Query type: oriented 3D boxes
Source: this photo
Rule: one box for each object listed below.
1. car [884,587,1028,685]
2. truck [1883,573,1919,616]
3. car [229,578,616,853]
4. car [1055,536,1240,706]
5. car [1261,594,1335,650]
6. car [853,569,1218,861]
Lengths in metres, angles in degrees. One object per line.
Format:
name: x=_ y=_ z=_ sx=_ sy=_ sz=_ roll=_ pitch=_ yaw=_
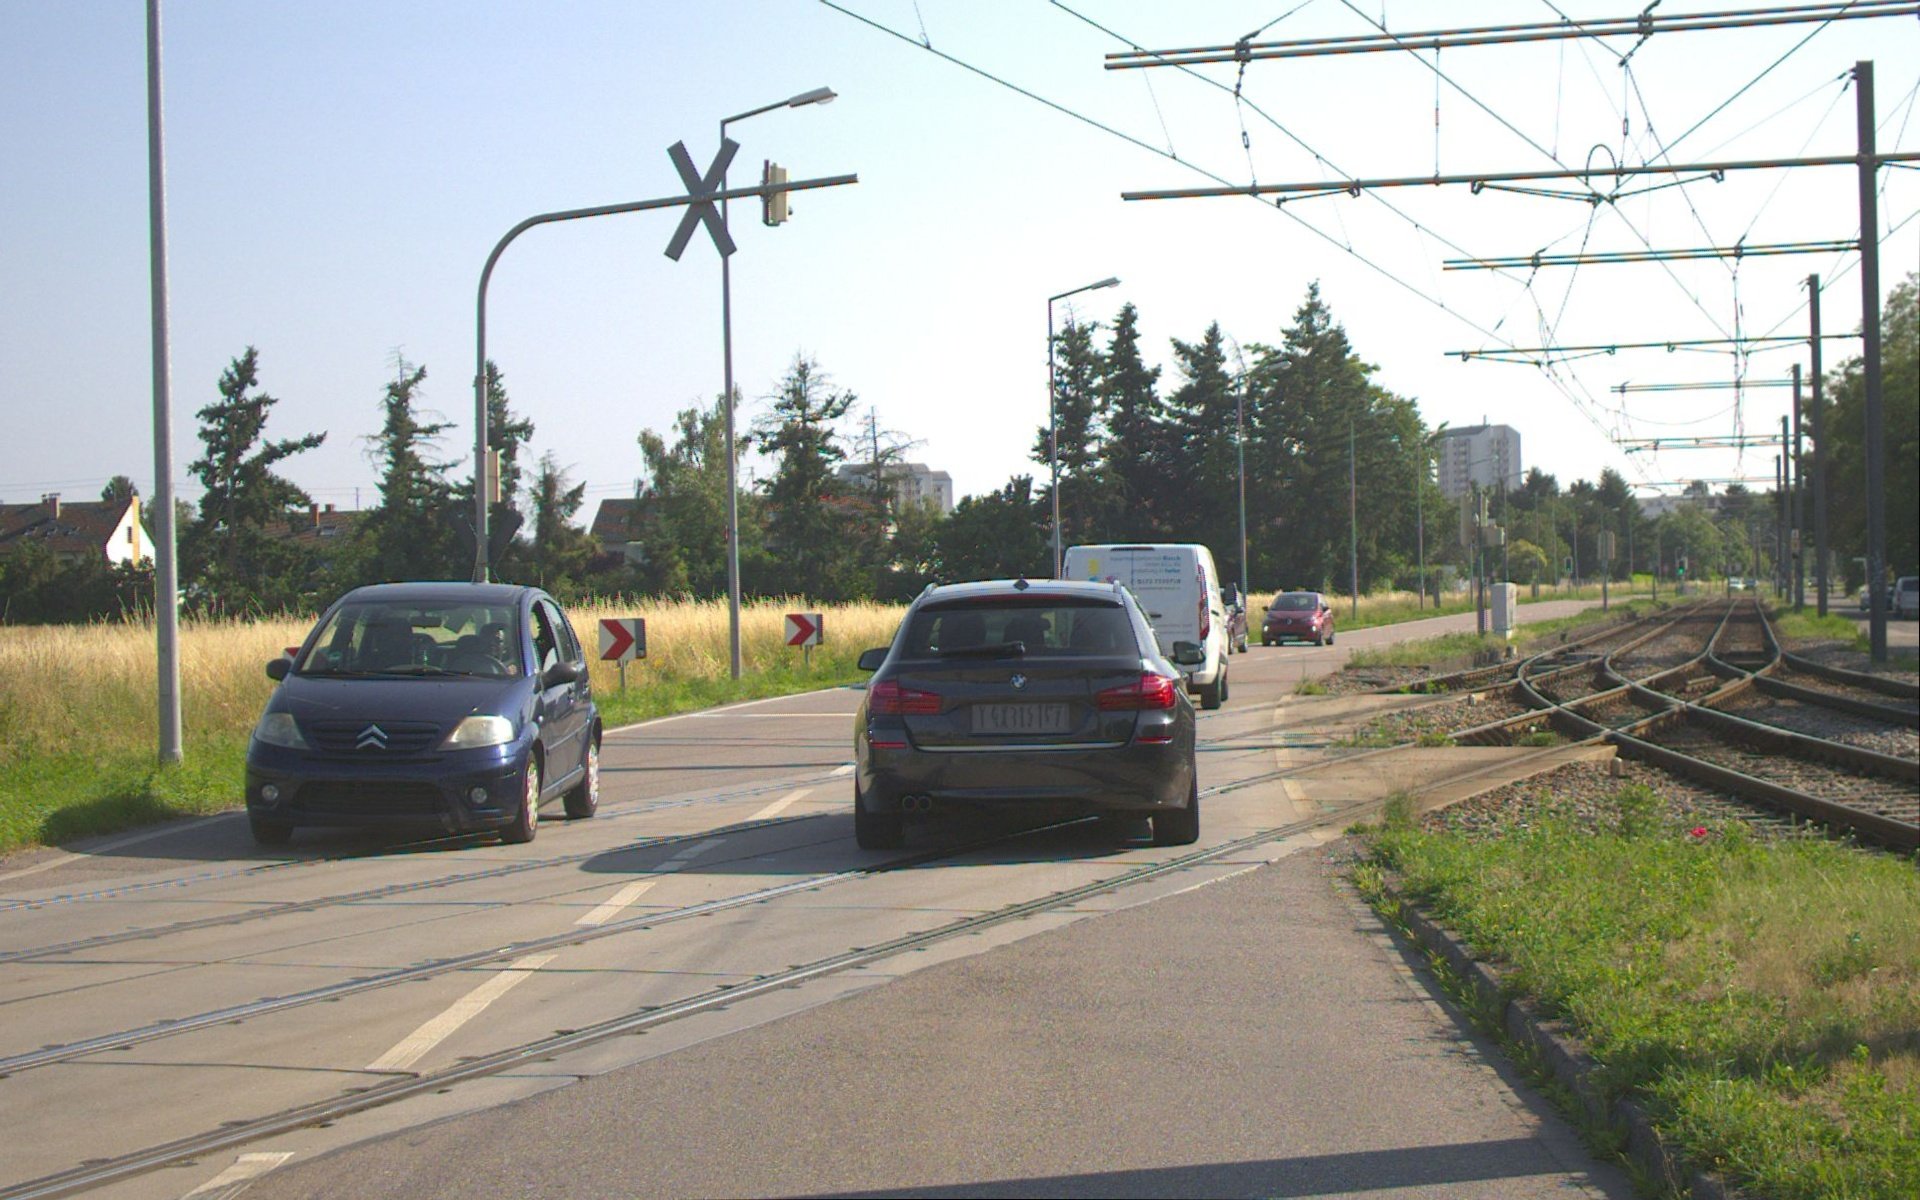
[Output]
car: x=-0.020 y=0.536 z=53.804 sx=1.693 sy=1.435 sz=4.282 roll=0 pitch=1 yaw=7
truck: x=40.394 y=-0.247 z=145.637 sx=2.205 sy=1.813 sz=5.926 roll=-1 pitch=0 yaw=12
car: x=-3.186 y=0.643 z=21.097 sx=1.624 sy=1.489 sz=4.000 roll=-1 pitch=0 yaw=2
car: x=2.391 y=0.219 z=42.616 sx=1.858 sy=1.981 sz=5.106 roll=0 pitch=1 yaw=8
car: x=9.796 y=0.616 z=99.393 sx=1.713 sy=1.544 sz=3.926 roll=0 pitch=1 yaw=12
car: x=0.465 y=0.565 z=19.962 sx=1.869 sy=1.447 sz=4.743 roll=0 pitch=1 yaw=2
